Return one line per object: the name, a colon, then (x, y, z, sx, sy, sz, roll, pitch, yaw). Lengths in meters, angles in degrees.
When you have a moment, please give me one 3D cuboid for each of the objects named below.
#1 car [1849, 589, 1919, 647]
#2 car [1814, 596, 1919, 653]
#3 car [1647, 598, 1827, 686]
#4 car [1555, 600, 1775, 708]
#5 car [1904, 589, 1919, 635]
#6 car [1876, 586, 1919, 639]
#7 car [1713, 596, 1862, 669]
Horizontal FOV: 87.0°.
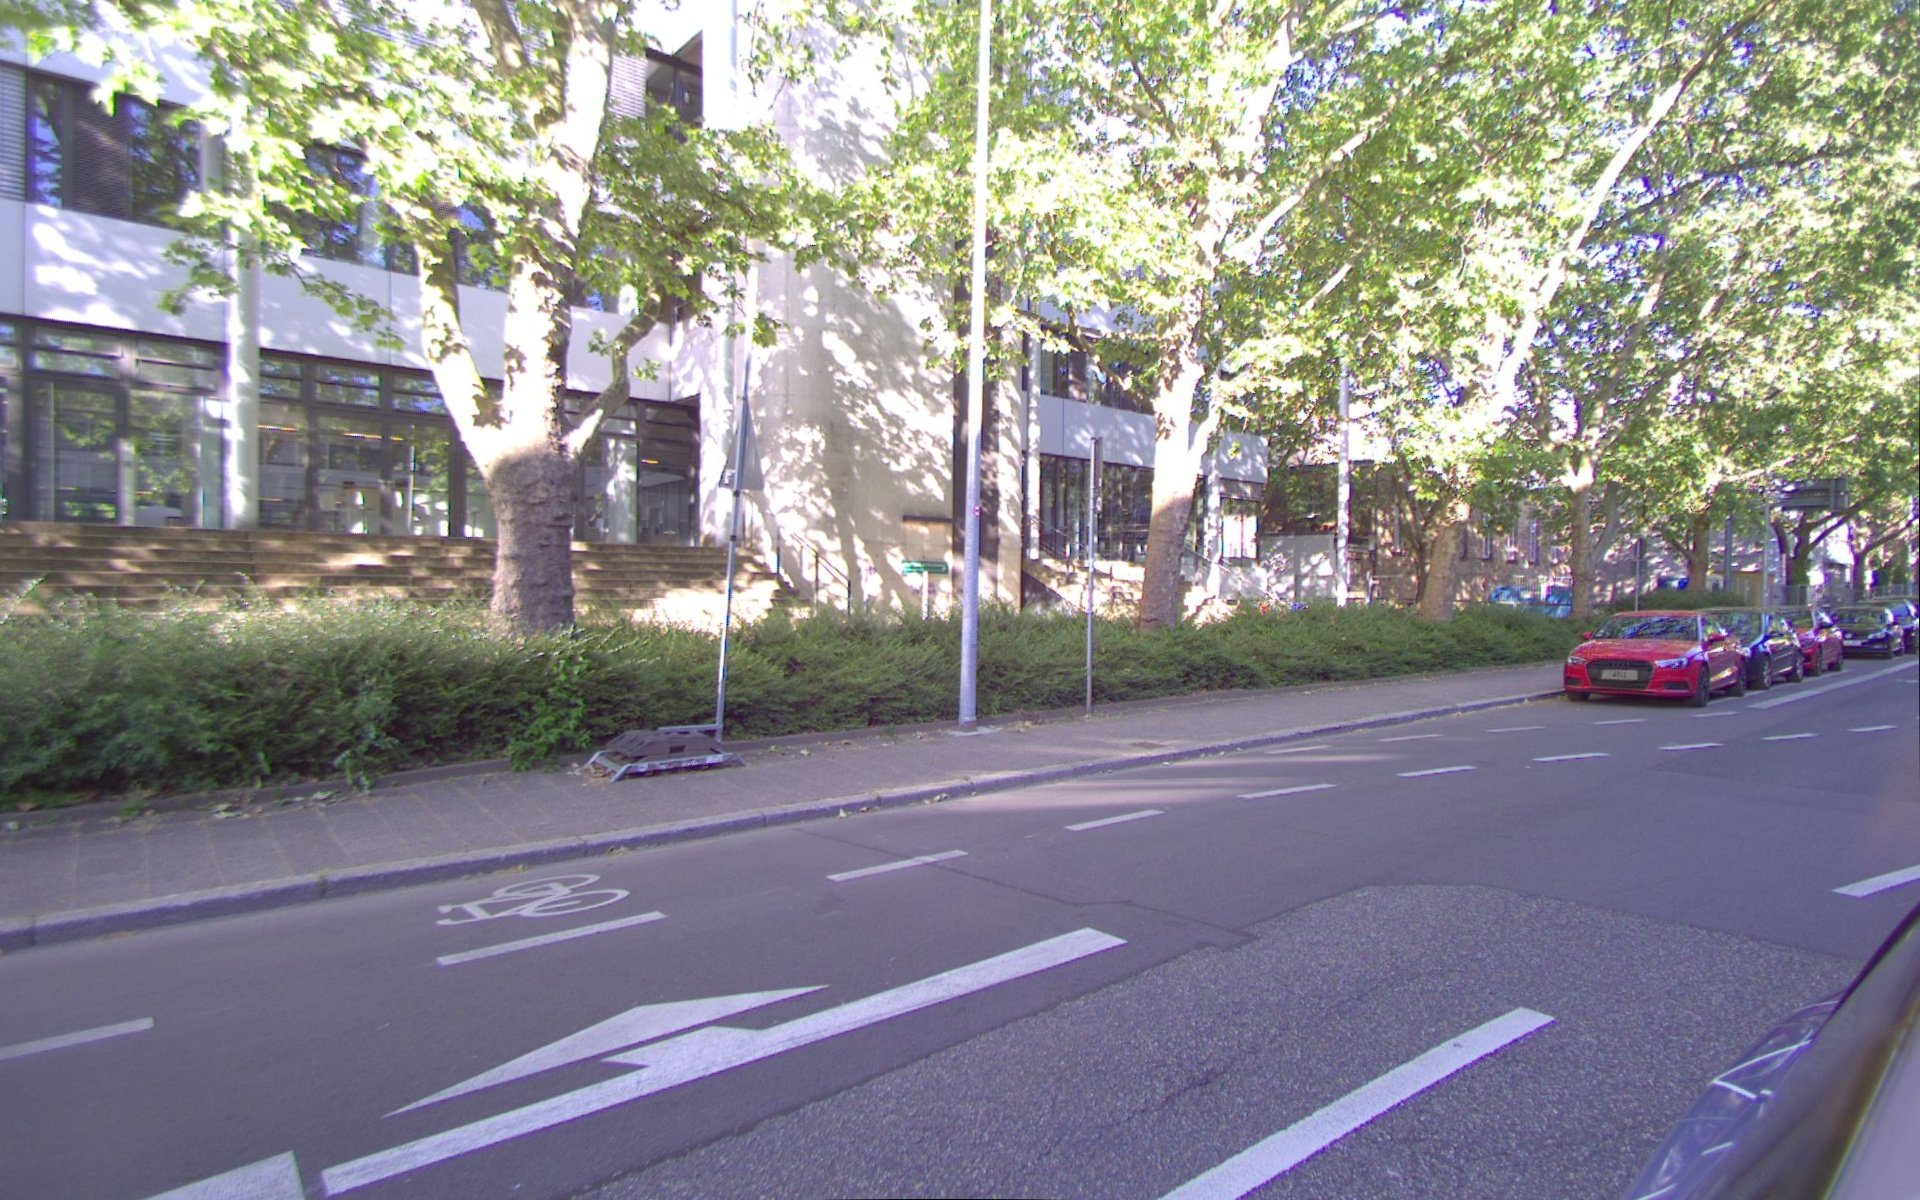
car: (29.567, 0.521, 31.803, 4.403, 1.689, 1.865, 0, 0, -41)
car: (25.788, 0.628, 28.608, 4.403, 1.469, 1.865, 0, 0, -41)
car: (14.764, 0.697, 19.137, 4.403, 1.469, 1.865, 0, 0, -41)
car: (11.316, 0.743, 16.137, 4.403, 1.469, 1.865, 0, 0, -41)
car: (38.871, 0.452, 39.964, 4.403, 1.781, 1.865, 0, 0, -41)
car: (33.905, 0.403, 35.694, 4.403, 1.781, 1.865, 0, 0, -41)
car: (18.432, 0.642, 22.475, 4.403, 1.469, 1.865, 0, 0, -41)
